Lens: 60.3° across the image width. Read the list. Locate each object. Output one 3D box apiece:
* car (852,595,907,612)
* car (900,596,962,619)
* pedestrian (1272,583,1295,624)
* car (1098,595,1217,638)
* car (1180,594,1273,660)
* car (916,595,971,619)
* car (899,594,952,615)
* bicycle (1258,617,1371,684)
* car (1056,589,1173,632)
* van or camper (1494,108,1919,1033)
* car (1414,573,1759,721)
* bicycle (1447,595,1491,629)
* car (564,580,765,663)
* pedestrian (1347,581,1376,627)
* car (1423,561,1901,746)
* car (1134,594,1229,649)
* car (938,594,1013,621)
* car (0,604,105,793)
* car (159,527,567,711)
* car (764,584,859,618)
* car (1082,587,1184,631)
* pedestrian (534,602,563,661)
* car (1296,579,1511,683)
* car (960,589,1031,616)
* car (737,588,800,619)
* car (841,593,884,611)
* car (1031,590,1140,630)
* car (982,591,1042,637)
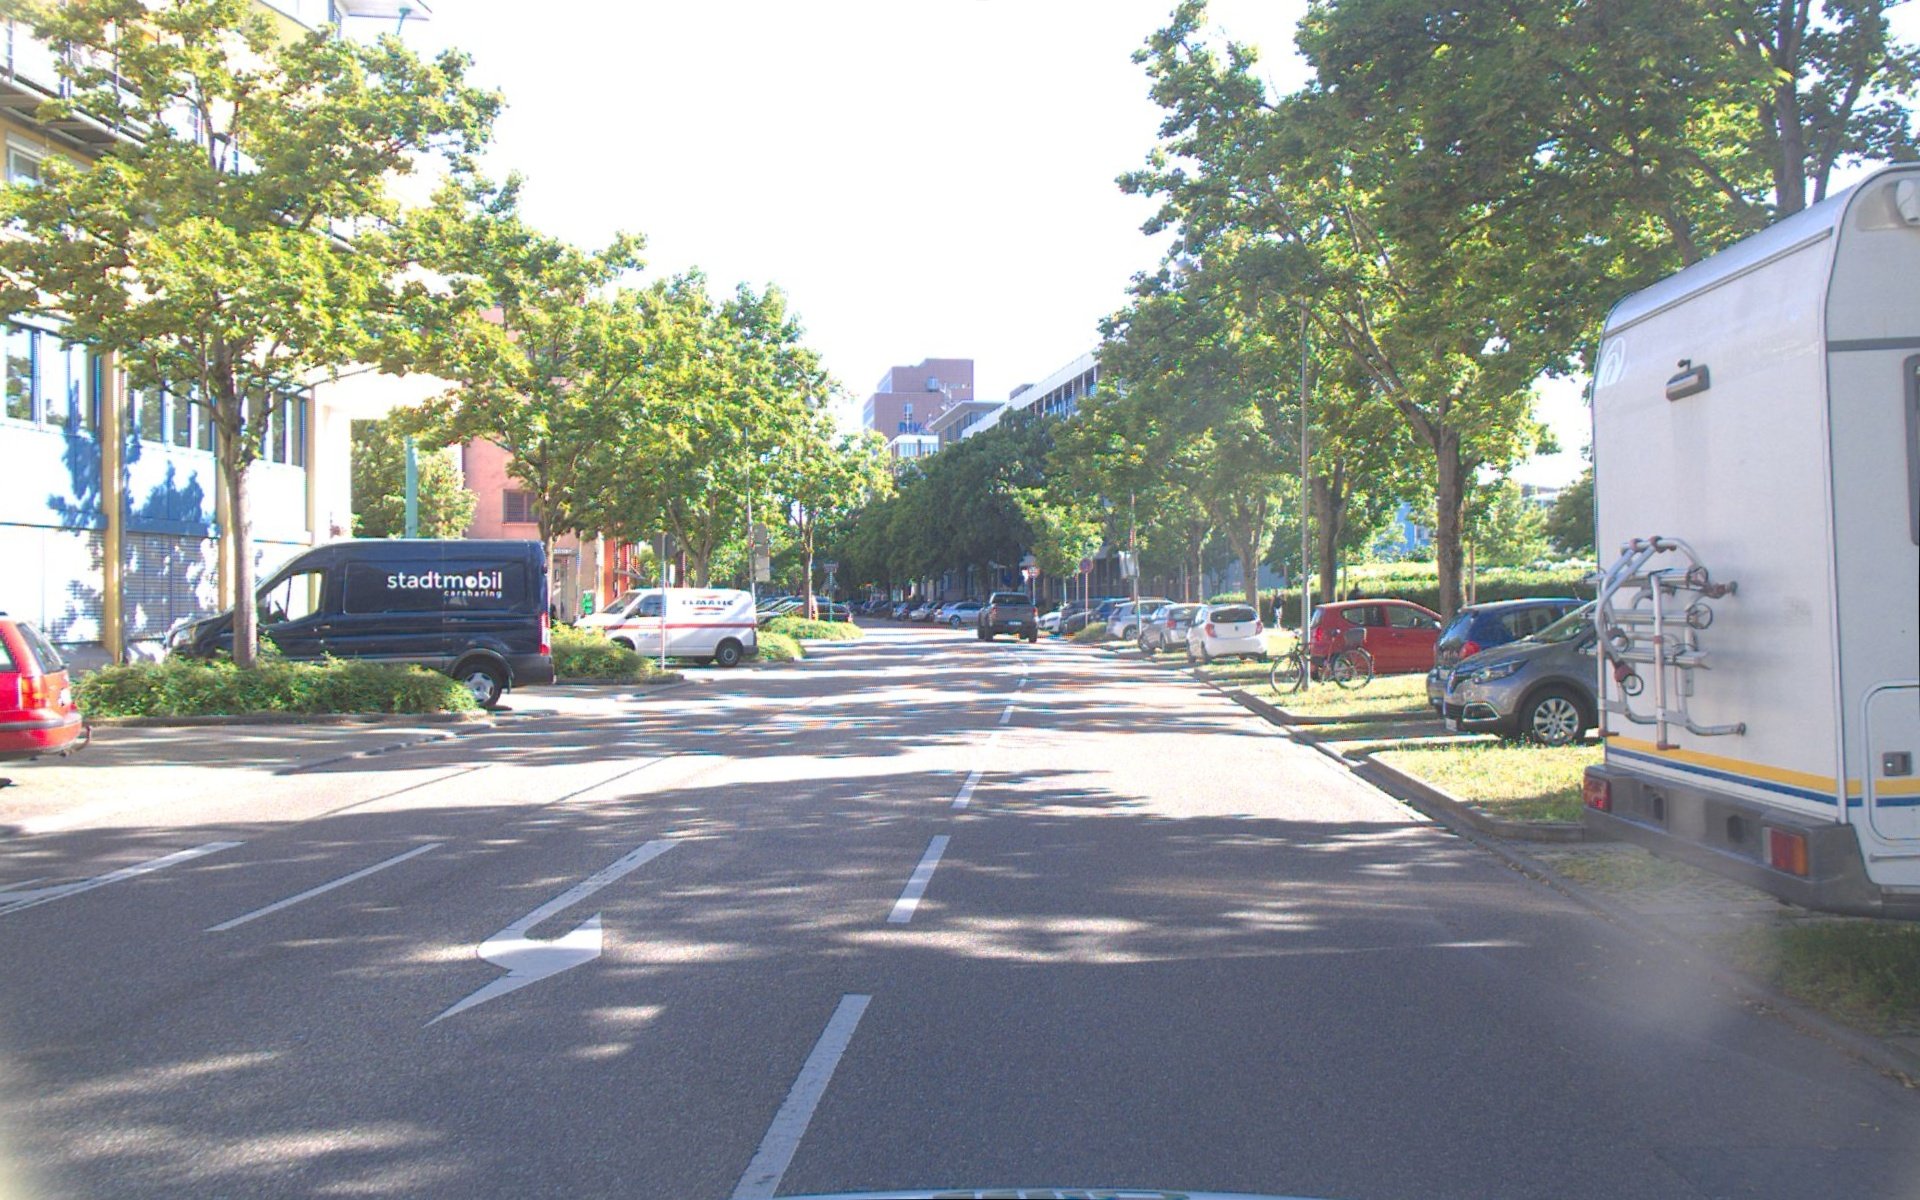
[{"bbox_3d":[-7.368,0.315,150.789,4.739,1.444,2.026,-2,0,-11],"label":"car"},{"bbox_3d":[-2.147,0.538,121.737,4.216,1.519,1.995,-2,0,-16],"label":"car"},{"bbox_3d":[12.692,0.137,64.904,0.595,1.569,0.936,-1,0,-7],"label":"pedestrian"},{"bbox_3d":[7.003,0.573,58.927,4.007,1.454,1.642,-1,0,-2],"label":"car"},{"bbox_3d":[6.776,0.654,42.391,1.610,1.519,3.764,-3,0,-1],"label":"car"},{"bbox_3d":[-1.206,0.498,119.287,3.681,1.519,1.610,-2,0,-15],"label":"car"},{"bbox_3d":[-2.680,0.354,128.305,3.899,1.444,1.706,-2,0,-11],"label":"car"},{"bbox_3d":[5.710,0.817,26.612,1.714,1.008,0.530,-2,0,15],"label":"bicycle"},{"bbox_3d":[6.483,0.432,69.631,4.465,1.541,2.154,-3,0,-9],"label":"car"},{"bbox_3d":[5.585,-0.241,6.742,5.858,3.036,2.671,-3,0,2],"label":"van or camper"},{"bbox_3d":[7.440,0.538,19.895,3.391,1.505,1.859,-3,0,0],"label":"car"},{"bbox_3d":[13.618,0.331,44.283,0.341,0.881,1.400,-2,0,-20],"label":"bicycle"},{"bbox_3d":[-7.551,0.521,42.442,4.713,2.020,1.977,0,1,-34],"label":"car"},{"bbox_3d":[14.137,0.146,58.268,0.710,1.615,0.851,-1,0,-7],"label":"pedestrian"},{"bbox_3d":[7.105,0.529,17.116,4.106,1.573,1.860,-3,0,4],"label":"car"},{"bbox_3d":[6.710,0.634,50.609,1.774,1.519,4.618,-3,0,-6],"label":"car"},{"bbox_3d":[0.954,0.441,104.374,4.493,1.501,1.743,-2,0,-9],"label":"car"},{"bbox_3d":[-9.462,0.783,13.604,4.165,1.501,1.757,1,0,-24],"label":"car"},{"bbox_3d":[-8.727,0.264,24.405,5.414,2.479,2.170,1,0,-24],"label":"car"},{"bbox_3d":[-6.715,0.044,74.842,4.180,1.448,1.737,1,0,-6],"label":"car"},{"bbox_3d":[6.977,0.354,66.966,3.734,1.473,1.742,-4,0,-7],"label":"car"},{"bbox_3d":[-12.403,0.948,49.849,0.644,1.756,1.021,-1,0,-5],"label":"pedestrian"},{"bbox_3d":[7.808,0.540,29.324,3.362,1.571,1.628,-4,0,4],"label":"car"},{"bbox_3d":[2.334,0.173,108.294,4.427,1.569,1.920,-2,0,-6],"label":"car"},{"bbox_3d":[-13.801,0.229,119.410,4.403,2.126,2.079,1,0,-7],"label":"car"},{"bbox_3d":[-10.208,0.195,173.246,4.275,1.733,1.807,-2,0,-12],"label":"car"},{"bbox_3d":[5.632,0.448,74.666,4.475,1.541,1.974,-3,0,-15],"label":"car"},{"bbox_3d":[1.947,0.521,63.551,1.954,1.668,3.997,1,0,-3],"label":"car"}]
